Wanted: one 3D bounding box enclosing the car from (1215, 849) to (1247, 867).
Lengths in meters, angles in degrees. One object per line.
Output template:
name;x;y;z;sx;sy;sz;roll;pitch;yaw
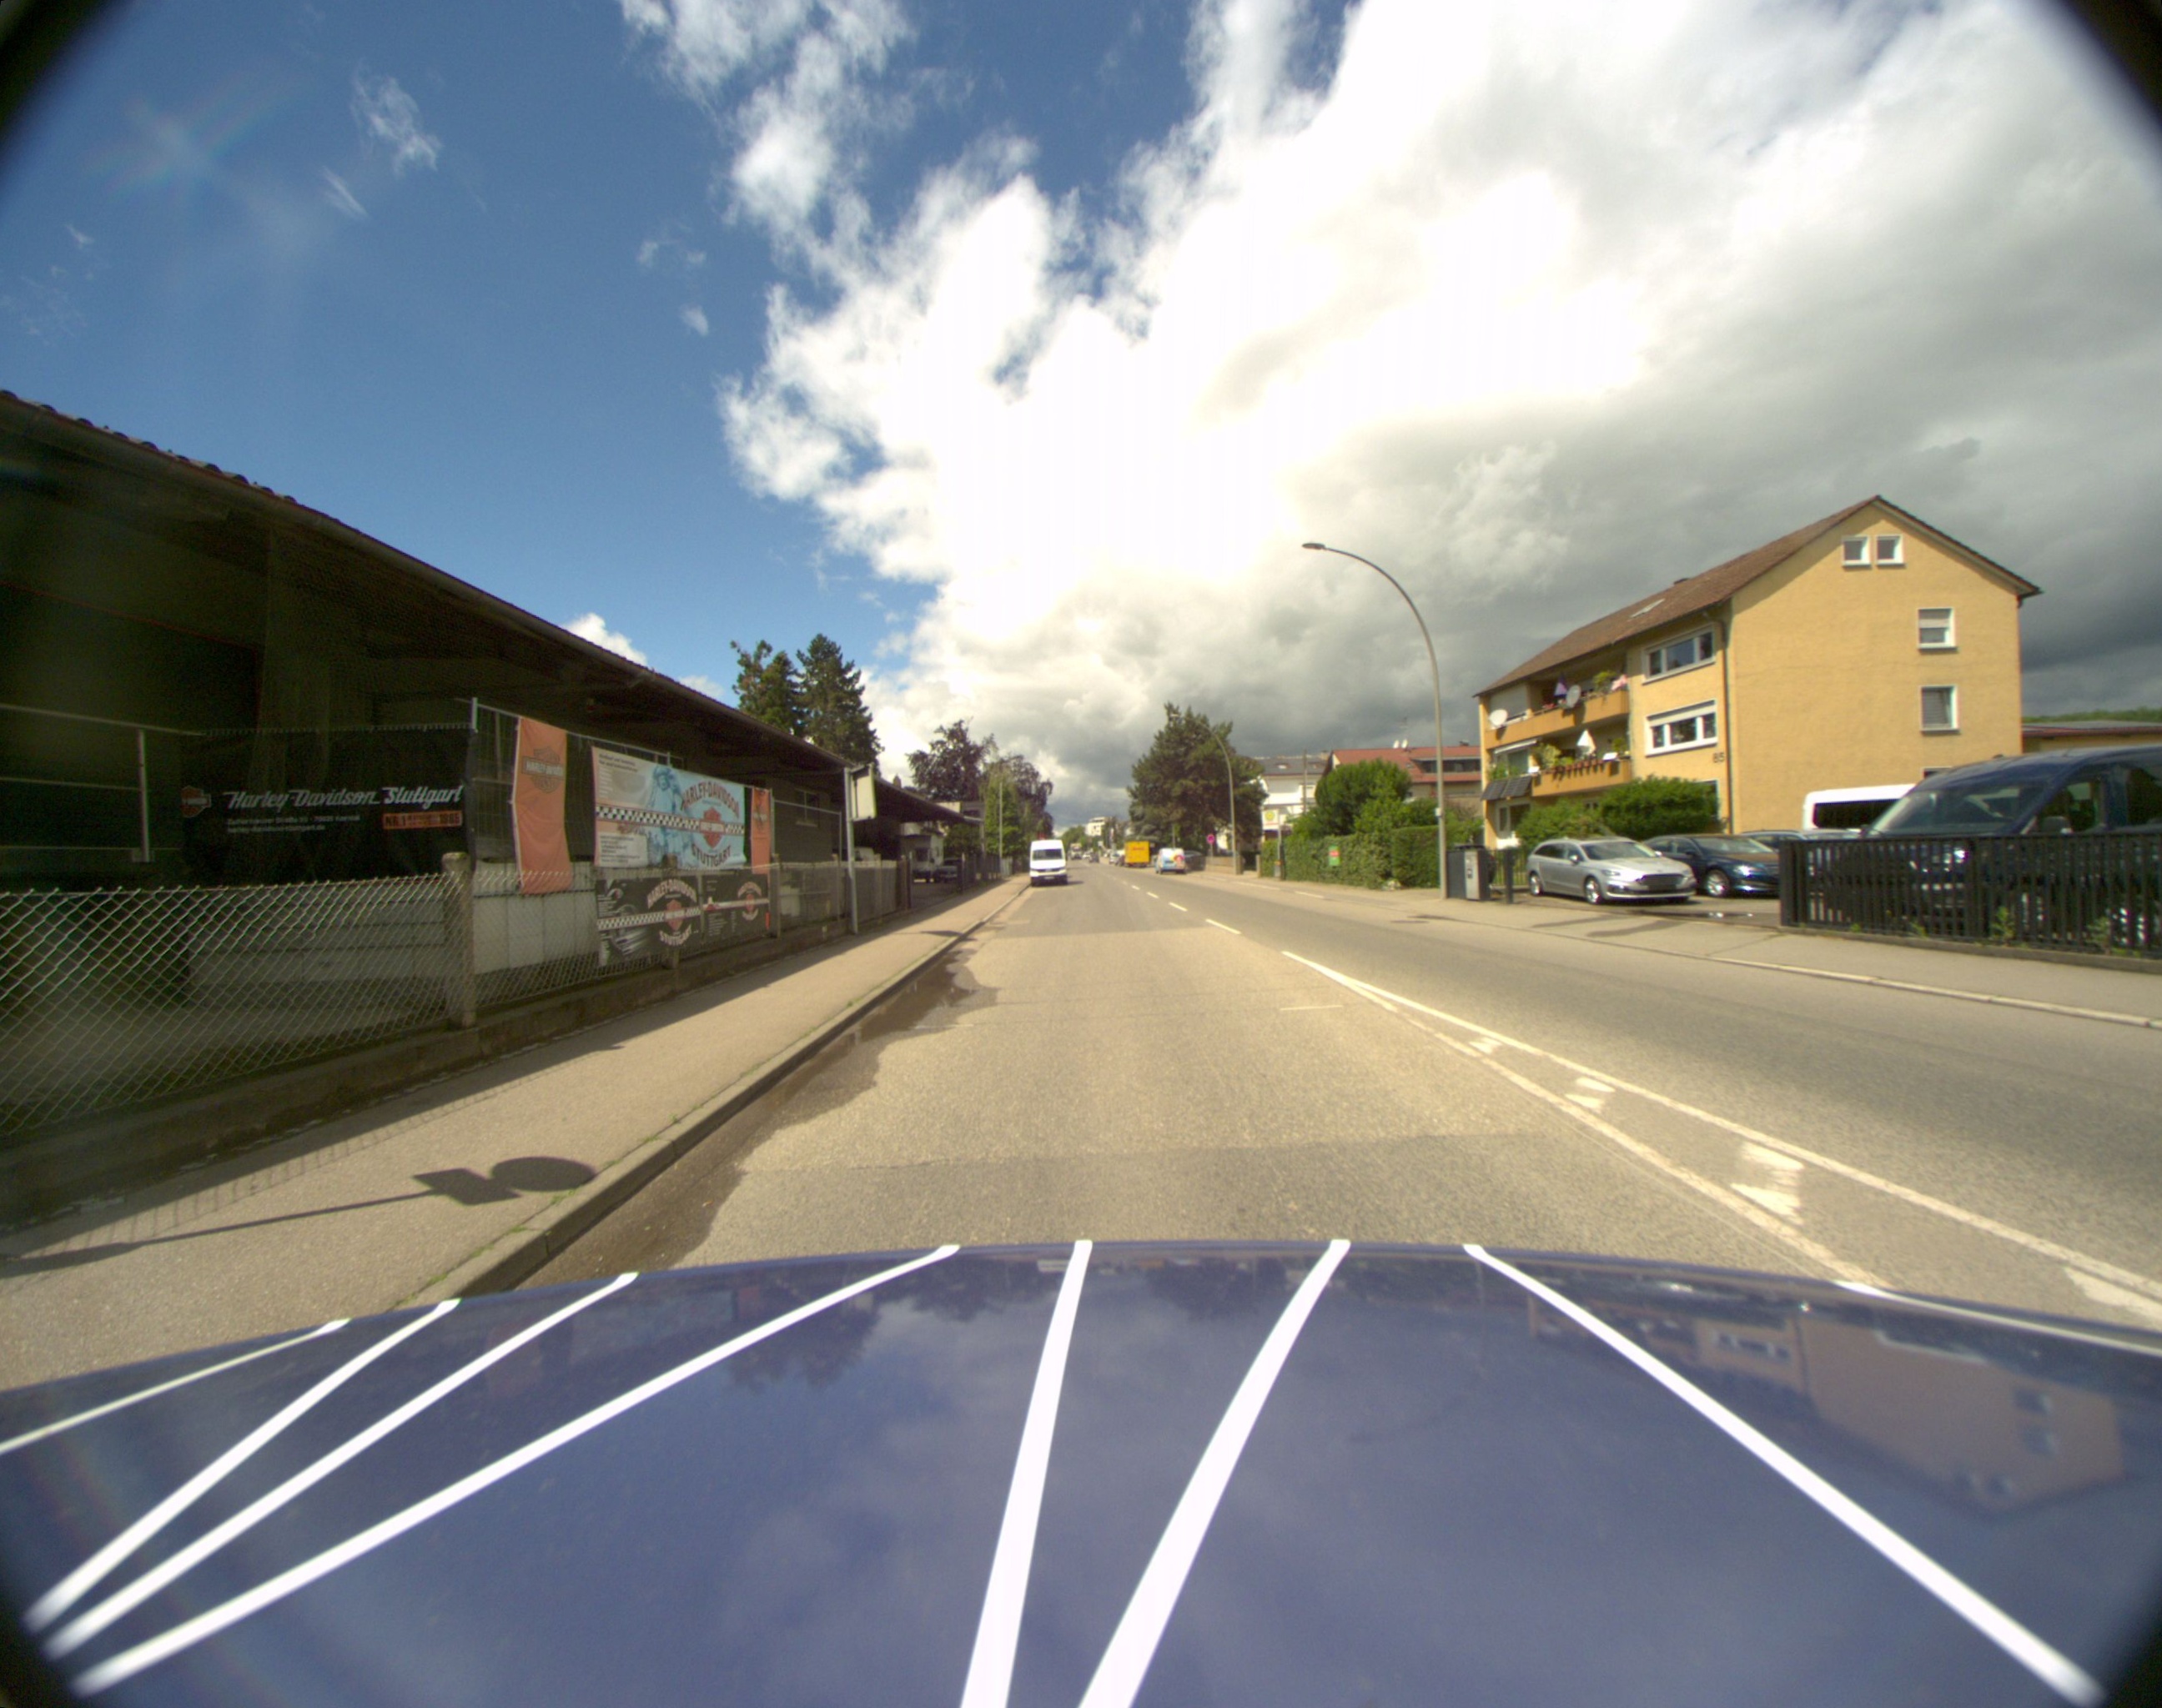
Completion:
car;13.690;0.338;69.659;1.772;1.534;4.086;-2;0;-5

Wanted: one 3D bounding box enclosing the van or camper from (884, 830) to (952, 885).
van or camper;-9.917;0.184;46.931;2.889;3.043;6.911;-2;0;-2

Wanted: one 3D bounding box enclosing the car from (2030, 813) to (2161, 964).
car;12.432;0.339;6.954;2.037;1.585;4.283;-2;0;-4

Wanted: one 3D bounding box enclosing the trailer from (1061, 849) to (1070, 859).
trailer;-3.560;-0.094;177.286;2.045;2.214;5.078;-1;0;0

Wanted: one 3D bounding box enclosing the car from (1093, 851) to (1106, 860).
car;3.249;0.263;132.919;1.906;1.509;4.317;-1;0;-2

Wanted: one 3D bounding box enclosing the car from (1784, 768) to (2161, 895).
car;20.572;-0.458;17.927;2.418;2.481;6.135;0;0;2

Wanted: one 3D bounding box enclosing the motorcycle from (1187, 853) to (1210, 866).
motorcycle;10.576;0.500;68.470;1.872;1.159;0.825;-2;0;16

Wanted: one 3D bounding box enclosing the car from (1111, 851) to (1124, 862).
car;5.610;0.433;117.281;1.809;1.666;4.127;0;0;-1

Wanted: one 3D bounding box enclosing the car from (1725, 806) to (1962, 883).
car;17.795;-0.215;18.080;1.848;1.568;4.334;-1;0;11

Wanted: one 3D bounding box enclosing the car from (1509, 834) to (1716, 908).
car;12.455;0.330;18.341;1.997;1.477;5.344;-2;0;10

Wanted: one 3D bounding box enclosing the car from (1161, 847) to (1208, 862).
car;11.937;0.084;87.989;5.021;1.543;1.972;-2;1;-2

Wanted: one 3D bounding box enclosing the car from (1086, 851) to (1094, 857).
car;2.369;-0.027;199.923;1.987;1.412;3.999;-1;0;-3

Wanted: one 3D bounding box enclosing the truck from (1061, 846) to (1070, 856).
truck;-4.582;-0.994;228.888;2.411;2.722;6.639;-4;1;-1

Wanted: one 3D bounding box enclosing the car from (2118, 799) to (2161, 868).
car;28.641;-0.541;18.151;1.849;1.781;4.330;-2;0;0

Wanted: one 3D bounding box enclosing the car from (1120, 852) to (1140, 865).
car;5.965;0.546;93.269;1.999;1.445;4.811;2;0;-1

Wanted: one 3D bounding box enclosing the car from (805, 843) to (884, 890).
car;-10.478;0.536;34.046;1.999;1.898;4.852;-2;0;-1

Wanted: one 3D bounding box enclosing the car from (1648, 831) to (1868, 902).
car;15.434;0.239;17.704;1.848;1.418;4.334;-1;0;11

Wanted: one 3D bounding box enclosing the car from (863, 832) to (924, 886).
car;-9.972;0.290;40.906;2.023;2.665;5.497;-2;-1;-2

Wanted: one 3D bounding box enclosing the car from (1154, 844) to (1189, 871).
car;6.578;0.275;55.669;1.838;1.842;4.895;1;-1;-1

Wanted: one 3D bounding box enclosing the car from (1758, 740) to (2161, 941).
car;13.846;-0.215;10.919;6.053;2.482;2.477;-2;0;-1

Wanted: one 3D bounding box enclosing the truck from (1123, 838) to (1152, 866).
truck;6.319;-0.222;85.562;2.330;2.986;7.816;0;0;-2

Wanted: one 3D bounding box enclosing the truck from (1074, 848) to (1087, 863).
truck;-0.118;0.375;184.476;2.880;3.290;8.605;-4;1;-1

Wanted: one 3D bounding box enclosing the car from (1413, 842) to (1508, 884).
car;14.268;0.308;28.835;1.848;1.418;4.332;-2;0;7

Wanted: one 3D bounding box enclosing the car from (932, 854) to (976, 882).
car;-7.399;0.784;44.742;1.769;1.480;4.926;-2;0;-1

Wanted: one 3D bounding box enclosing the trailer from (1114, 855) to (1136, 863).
trailer;5.747;0.581;99.581;2.324;0.985;7.457;0;0;-1

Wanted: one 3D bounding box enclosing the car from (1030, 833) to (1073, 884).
car;-1.705;0.209;43.768;2.221;2.673;6.656;-1;0;-2
